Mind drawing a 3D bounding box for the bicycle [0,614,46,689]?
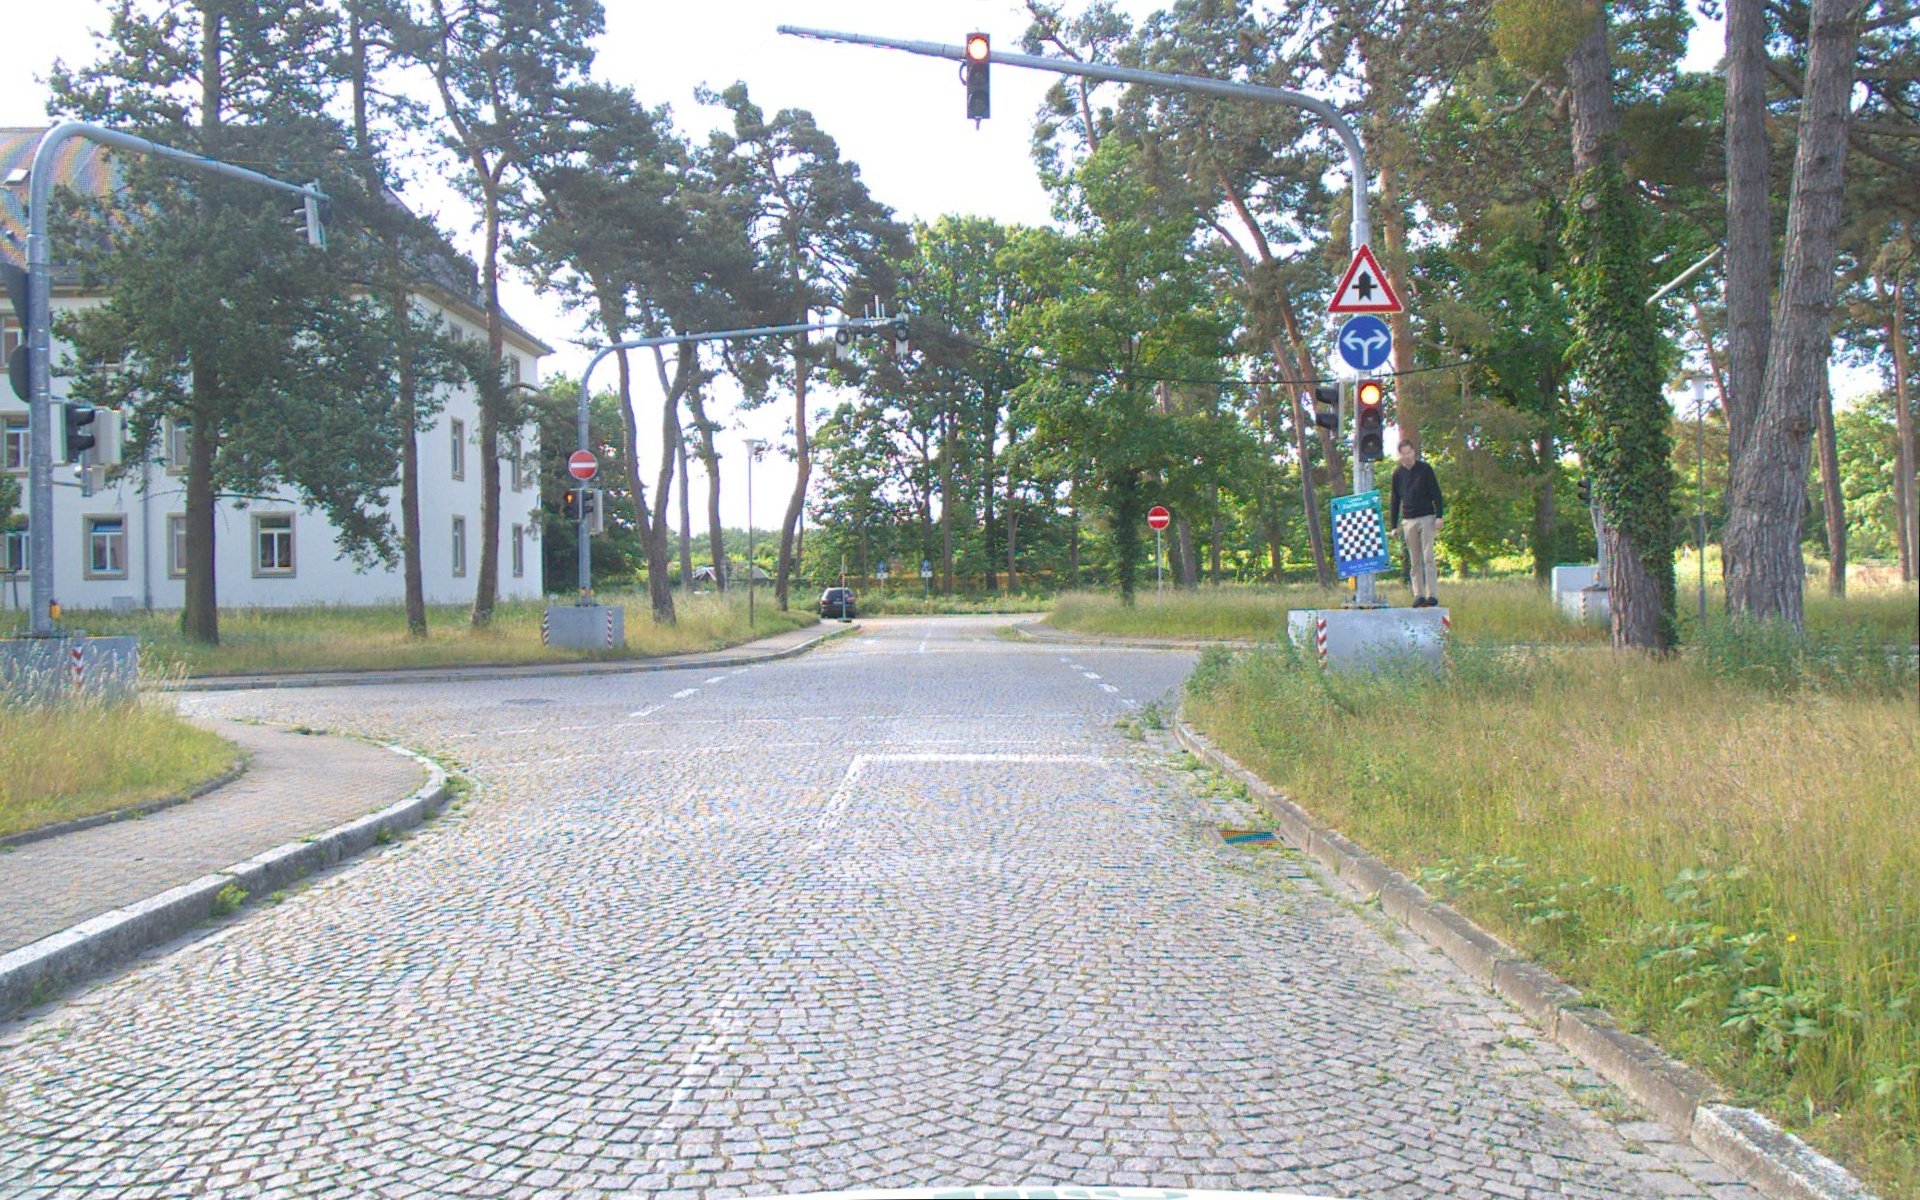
[{"bbox_3d":[-16.650,0.888,28.126,1.824,1.242,0.635,-1,0,-1],"label":"bicycle"}]

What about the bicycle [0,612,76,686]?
[{"bbox_3d":[-16.558,0.859,28.841,1.905,1.242,0.635,-1,0,-1],"label":"bicycle"}]

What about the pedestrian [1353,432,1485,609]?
[{"bbox_3d":[5.016,-0.843,18.042,1.146,1.827,1.061,-1,1,29],"label":"pedestrian"}]

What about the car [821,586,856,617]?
[{"bbox_3d":[-6.281,0.073,85.609,1.675,1.522,3.917,-1,1,-3],"label":"car"}]

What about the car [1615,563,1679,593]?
[{"bbox_3d":[38.192,-1.202,92.018,1.790,1.609,4.162,-1,1,-1],"label":"car"}]
